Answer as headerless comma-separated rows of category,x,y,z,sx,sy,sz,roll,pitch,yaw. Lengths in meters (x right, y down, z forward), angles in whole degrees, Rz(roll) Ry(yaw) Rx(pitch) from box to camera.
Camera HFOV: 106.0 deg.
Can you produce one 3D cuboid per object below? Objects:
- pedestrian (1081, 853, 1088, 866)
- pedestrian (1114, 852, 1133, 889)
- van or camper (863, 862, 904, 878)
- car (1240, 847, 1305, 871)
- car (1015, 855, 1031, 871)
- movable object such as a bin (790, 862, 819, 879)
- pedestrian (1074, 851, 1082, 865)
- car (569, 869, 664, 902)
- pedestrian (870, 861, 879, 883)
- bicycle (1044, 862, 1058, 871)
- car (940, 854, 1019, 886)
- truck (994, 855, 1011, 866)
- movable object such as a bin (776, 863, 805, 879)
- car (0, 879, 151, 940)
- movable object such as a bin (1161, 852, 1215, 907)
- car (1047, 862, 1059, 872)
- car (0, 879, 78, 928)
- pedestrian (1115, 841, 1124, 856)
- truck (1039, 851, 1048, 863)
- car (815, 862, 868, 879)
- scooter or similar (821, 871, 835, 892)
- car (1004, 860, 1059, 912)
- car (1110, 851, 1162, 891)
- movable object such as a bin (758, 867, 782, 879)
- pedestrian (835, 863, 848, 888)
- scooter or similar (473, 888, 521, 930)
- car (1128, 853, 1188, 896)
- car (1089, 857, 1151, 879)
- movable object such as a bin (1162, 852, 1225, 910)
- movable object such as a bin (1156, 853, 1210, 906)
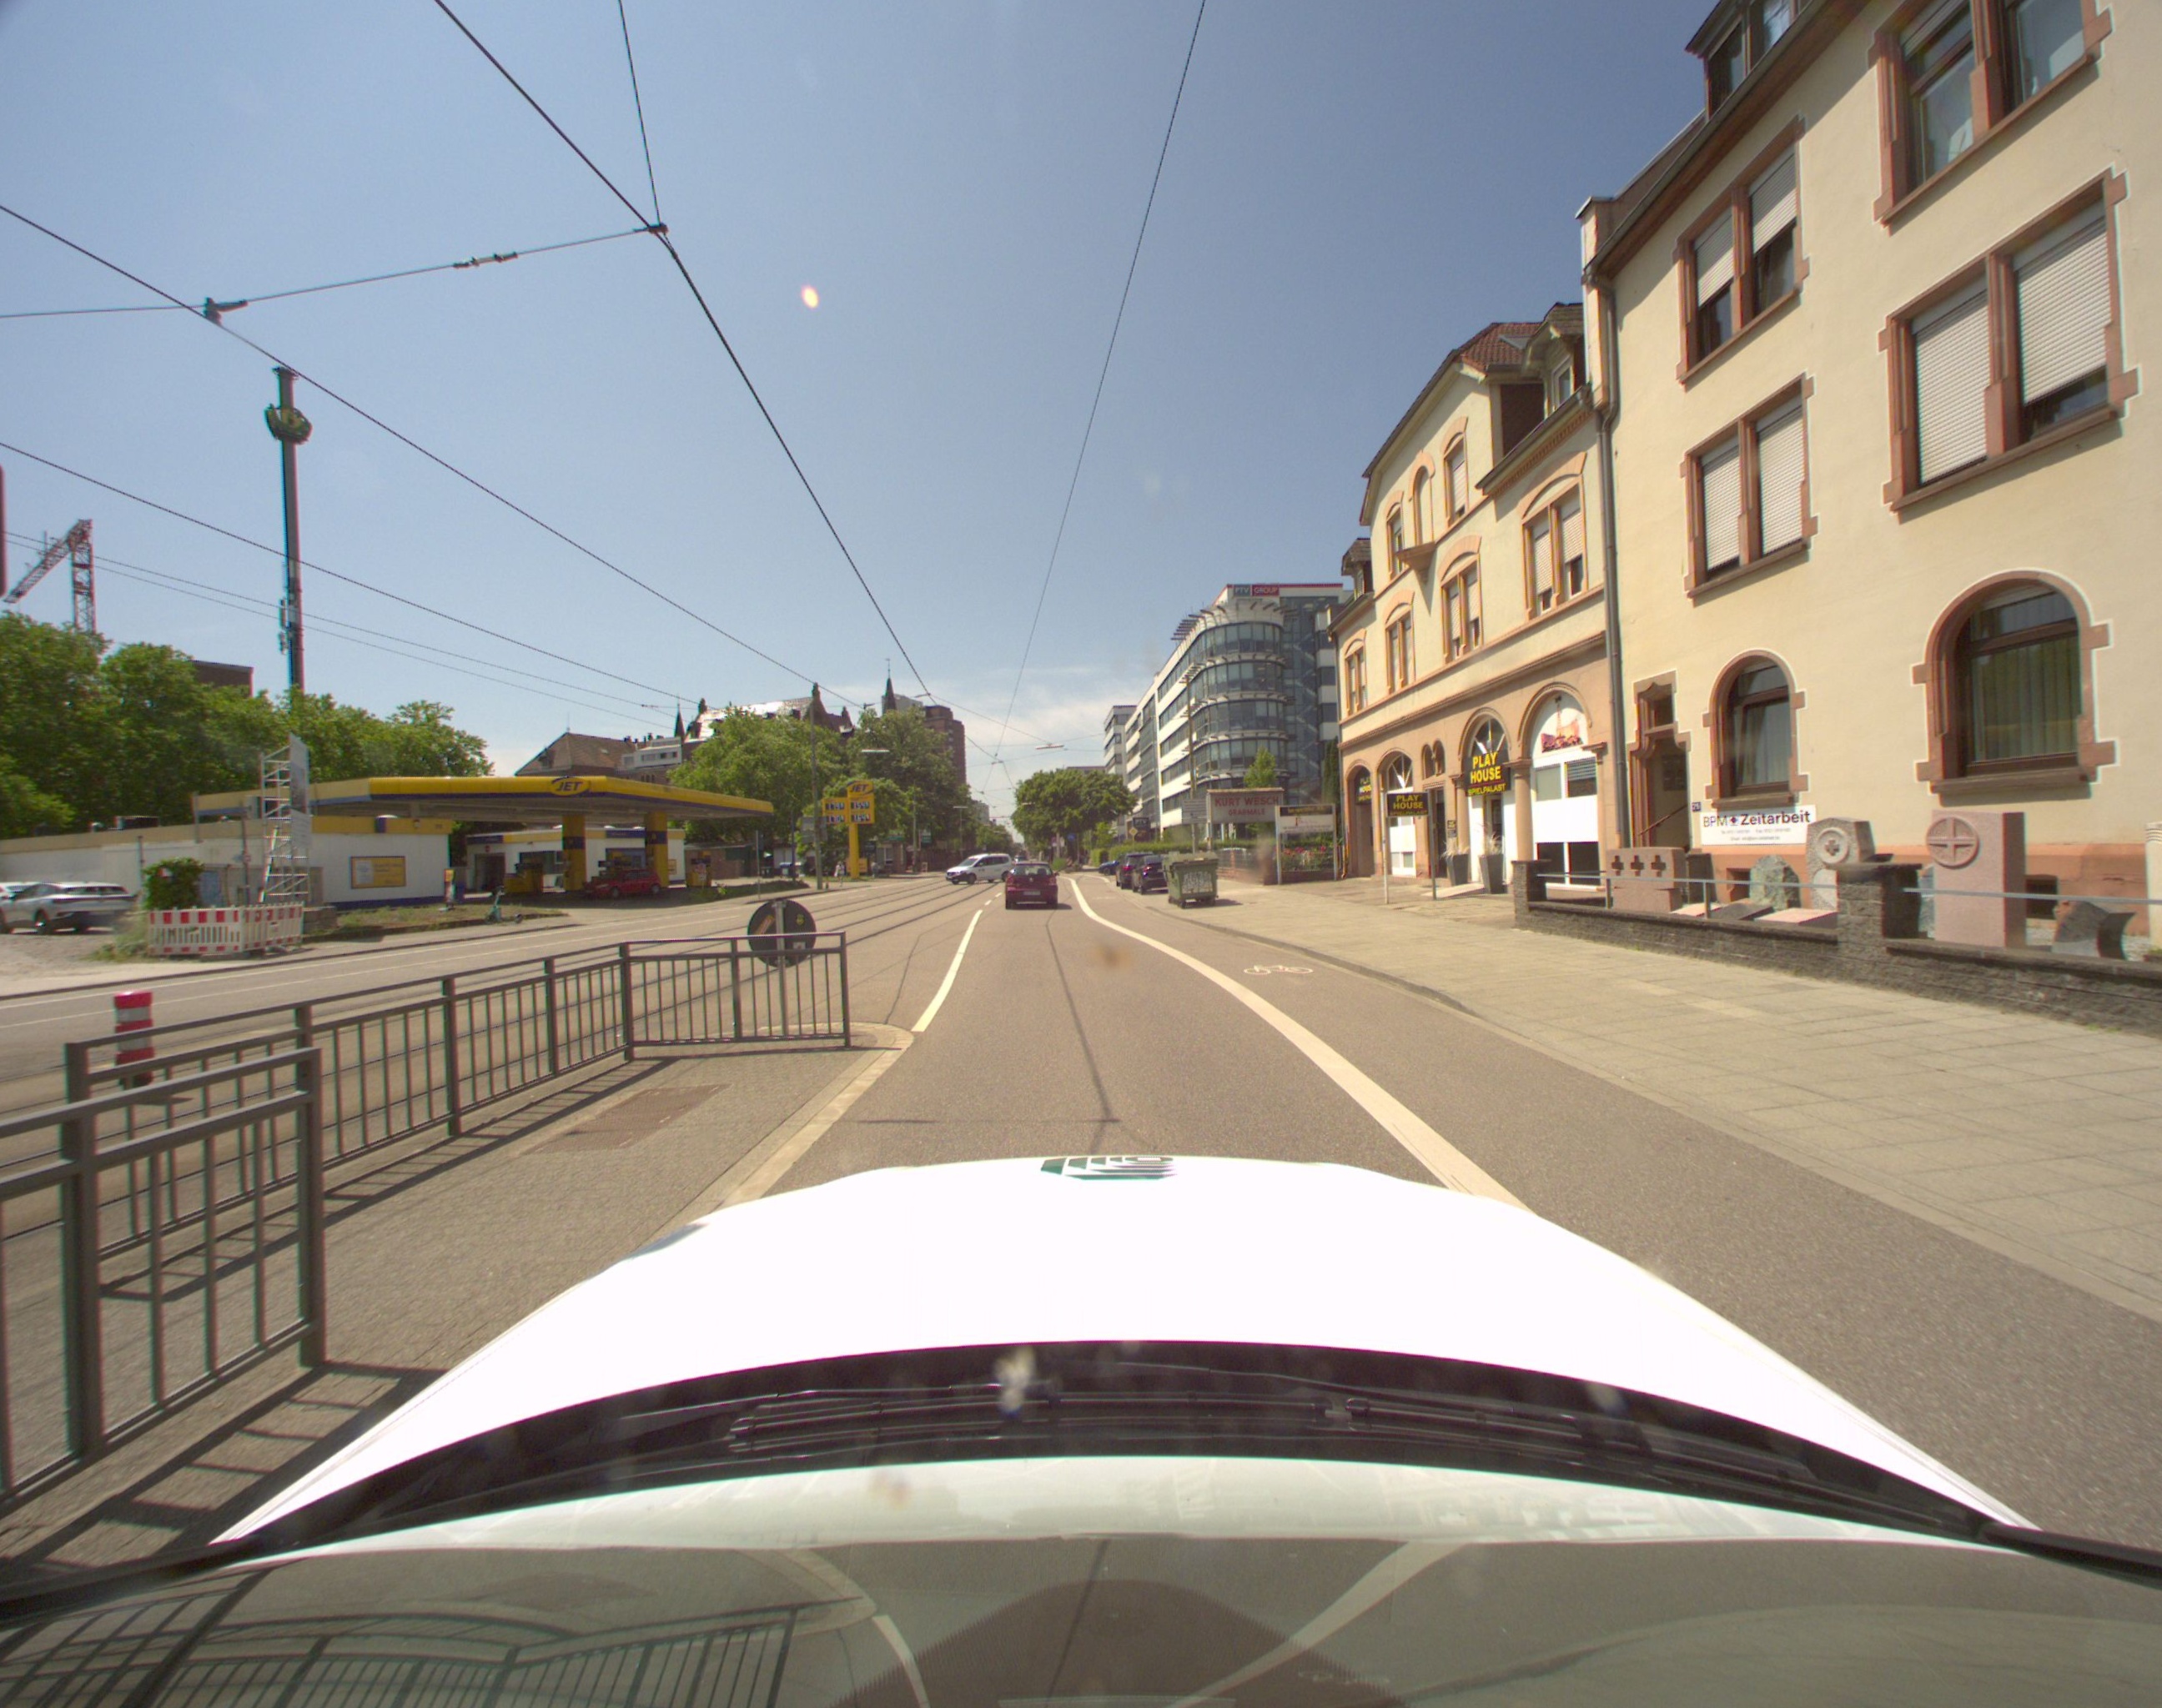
pedestrian,0.478,0.685,108.547,0.541,1.715,0.560,-3,-1,-33
pedestrian,2.347,0.893,44.742,0.783,1.960,0.586,-2,-1,-19
van or camper,-20.465,1.645,84.444,3.776,1.629,1.869,-1,0,-4
car,13.507,0.360,57.585,4.135,1.459,1.817,-2,0,0
car,-7.646,1.200,107.141,1.991,2.013,3.992,-1,0,-6
movable object such as a bin,-25.481,1.471,75.068,1.508,1.509,2.110,-1,0,21
pedestrian,-0.397,0.543,107.817,0.682,1.796,0.667,-3,-1,-35
car,-24.617,1.639,43.327,1.810,1.504,4.220,0,1,20
pedestrian,-17.065,1.473,67.325,0.579,1.775,0.698,-1,0,-7
bicycle,-4.354,1.847,117.919,1.880,1.182,0.693,-3,-1,-4
car,-6.348,0.970,51.113,4.577,1.799,1.976,-2,0,-41
truck,-21.437,1.857,223.650,2.354,2.787,7.344,-2,0,12
movable object such as a bin,-26.971,1.594,75.637,1.508,1.432,2.110,-1,0,21
car,-31.810,1.679,25.633,4.228,1.746,1.901,-1,0,20
movable object such as a bin,3.068,0.733,23.512,1.246,1.455,1.055,-4,0,-7
car,-4.481,2.031,130.007,1.685,1.503,3.622,-4,0,-4
car,-42.816,1.943,32.617,4.228,1.781,2.010,-1,0,20
pedestrian,4.609,-0.601,97.195,0.869,1.715,1.091,-4,-1,6
truck,-8.226,0.614,179.271,1.989,2.662,4.868,-1,0,-4
car,-22.302,1.495,75.969,1.910,1.488,4.479,-1,0,36
scooter or similar,-15.452,1.665,49.764,0.518,1.200,1.374,-1,0,-6
car,-1.613,0.963,26.216,1.616,1.486,3.993,-1,0,-4
car,2.633,0.800,39.887,1.919,1.693,5.077,-4,0,-2
movable object such as a bin,-28.985,1.767,75.875,1.392,1.138,1.572,-1,0,21
pedestrian,-16.394,1.458,55.647,0.623,1.691,0.722,-2,0,-1
scooter or similar,-18.551,1.728,25.878,0.342,1.264,1.248,-1,0,21
car,3.114,0.830,33.741,1.768,1.548,4.462,-4,-1,-3
car,2.726,0.959,56.334,3.880,1.372,1.712,-3,-1,20
movable object such as a bin,3.067,0.730,22.403,1.391,1.455,1.136,-4,0,-7
movable object such as a bin,3.064,0.754,24.589,1.322,1.455,1.055,-4,0,-7
